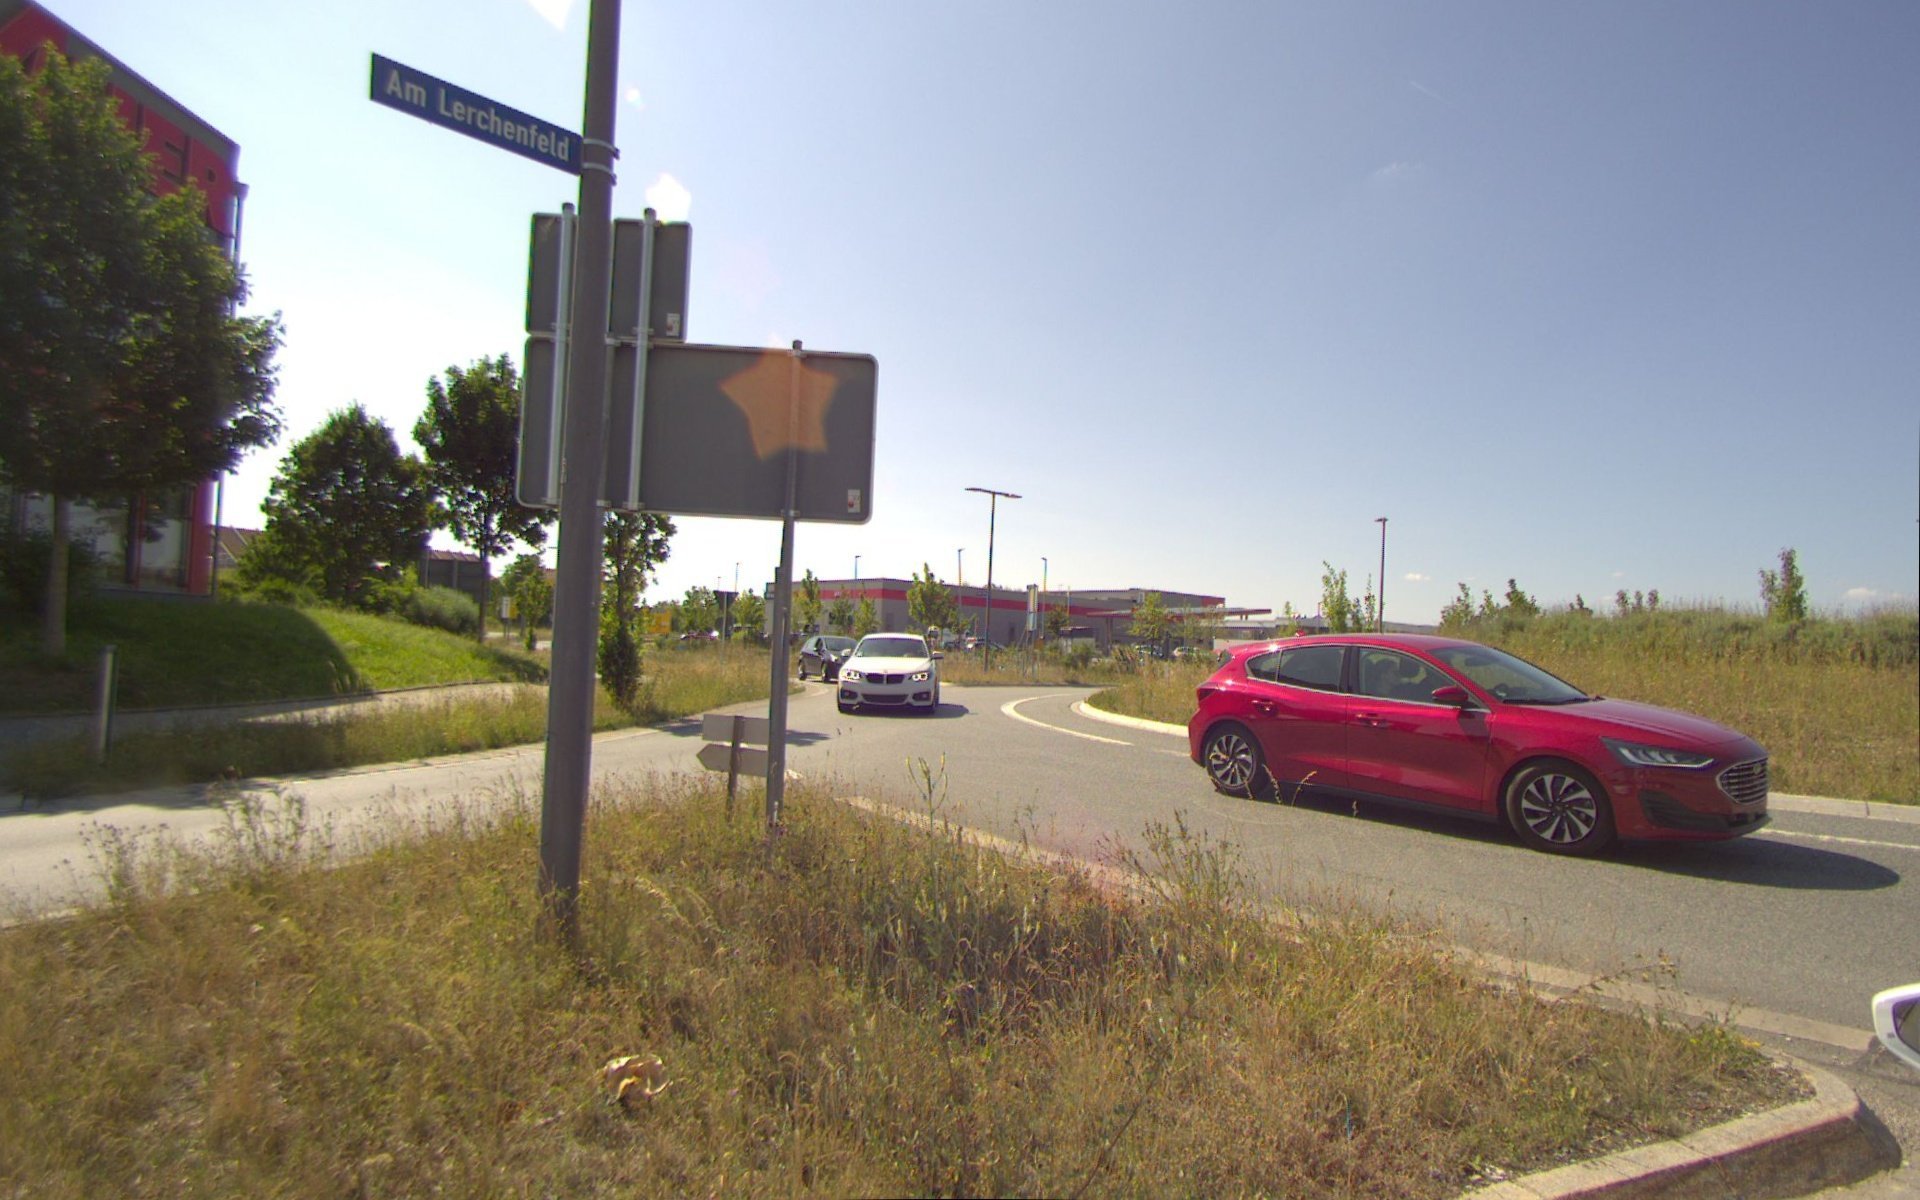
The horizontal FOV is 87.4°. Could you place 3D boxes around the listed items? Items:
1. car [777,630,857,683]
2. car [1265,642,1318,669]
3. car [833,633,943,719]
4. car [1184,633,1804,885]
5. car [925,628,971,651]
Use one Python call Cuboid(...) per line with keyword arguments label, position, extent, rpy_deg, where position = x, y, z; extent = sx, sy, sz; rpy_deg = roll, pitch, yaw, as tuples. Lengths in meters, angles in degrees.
Cuboid(label="car", position=(-4.568, 1.743, 31.654), extent=(1.621, 1.507, 3.885), rpy_deg=(2, -2, -21))
Cuboid(label="car", position=(27.793, 4.691, 84.122), extent=(5.099, 2.040, 1.975), rpy_deg=(5, -3, -42))
Cuboid(label="car", position=(-1.265, 1.392, 19.282), extent=(1.762, 1.434, 4.383), rpy_deg=(0, -3, 0))
Cuboid(label="car", position=(3.964, 1.019, 8.117), extent=(1.791, 1.434, 4.077), rpy_deg=(2, -2, -35))
Cuboid(label="car", position=(-1.117, 3.701, 94.543), extent=(3.972, 2.040, 1.975), rpy_deg=(4, -3, -43))
